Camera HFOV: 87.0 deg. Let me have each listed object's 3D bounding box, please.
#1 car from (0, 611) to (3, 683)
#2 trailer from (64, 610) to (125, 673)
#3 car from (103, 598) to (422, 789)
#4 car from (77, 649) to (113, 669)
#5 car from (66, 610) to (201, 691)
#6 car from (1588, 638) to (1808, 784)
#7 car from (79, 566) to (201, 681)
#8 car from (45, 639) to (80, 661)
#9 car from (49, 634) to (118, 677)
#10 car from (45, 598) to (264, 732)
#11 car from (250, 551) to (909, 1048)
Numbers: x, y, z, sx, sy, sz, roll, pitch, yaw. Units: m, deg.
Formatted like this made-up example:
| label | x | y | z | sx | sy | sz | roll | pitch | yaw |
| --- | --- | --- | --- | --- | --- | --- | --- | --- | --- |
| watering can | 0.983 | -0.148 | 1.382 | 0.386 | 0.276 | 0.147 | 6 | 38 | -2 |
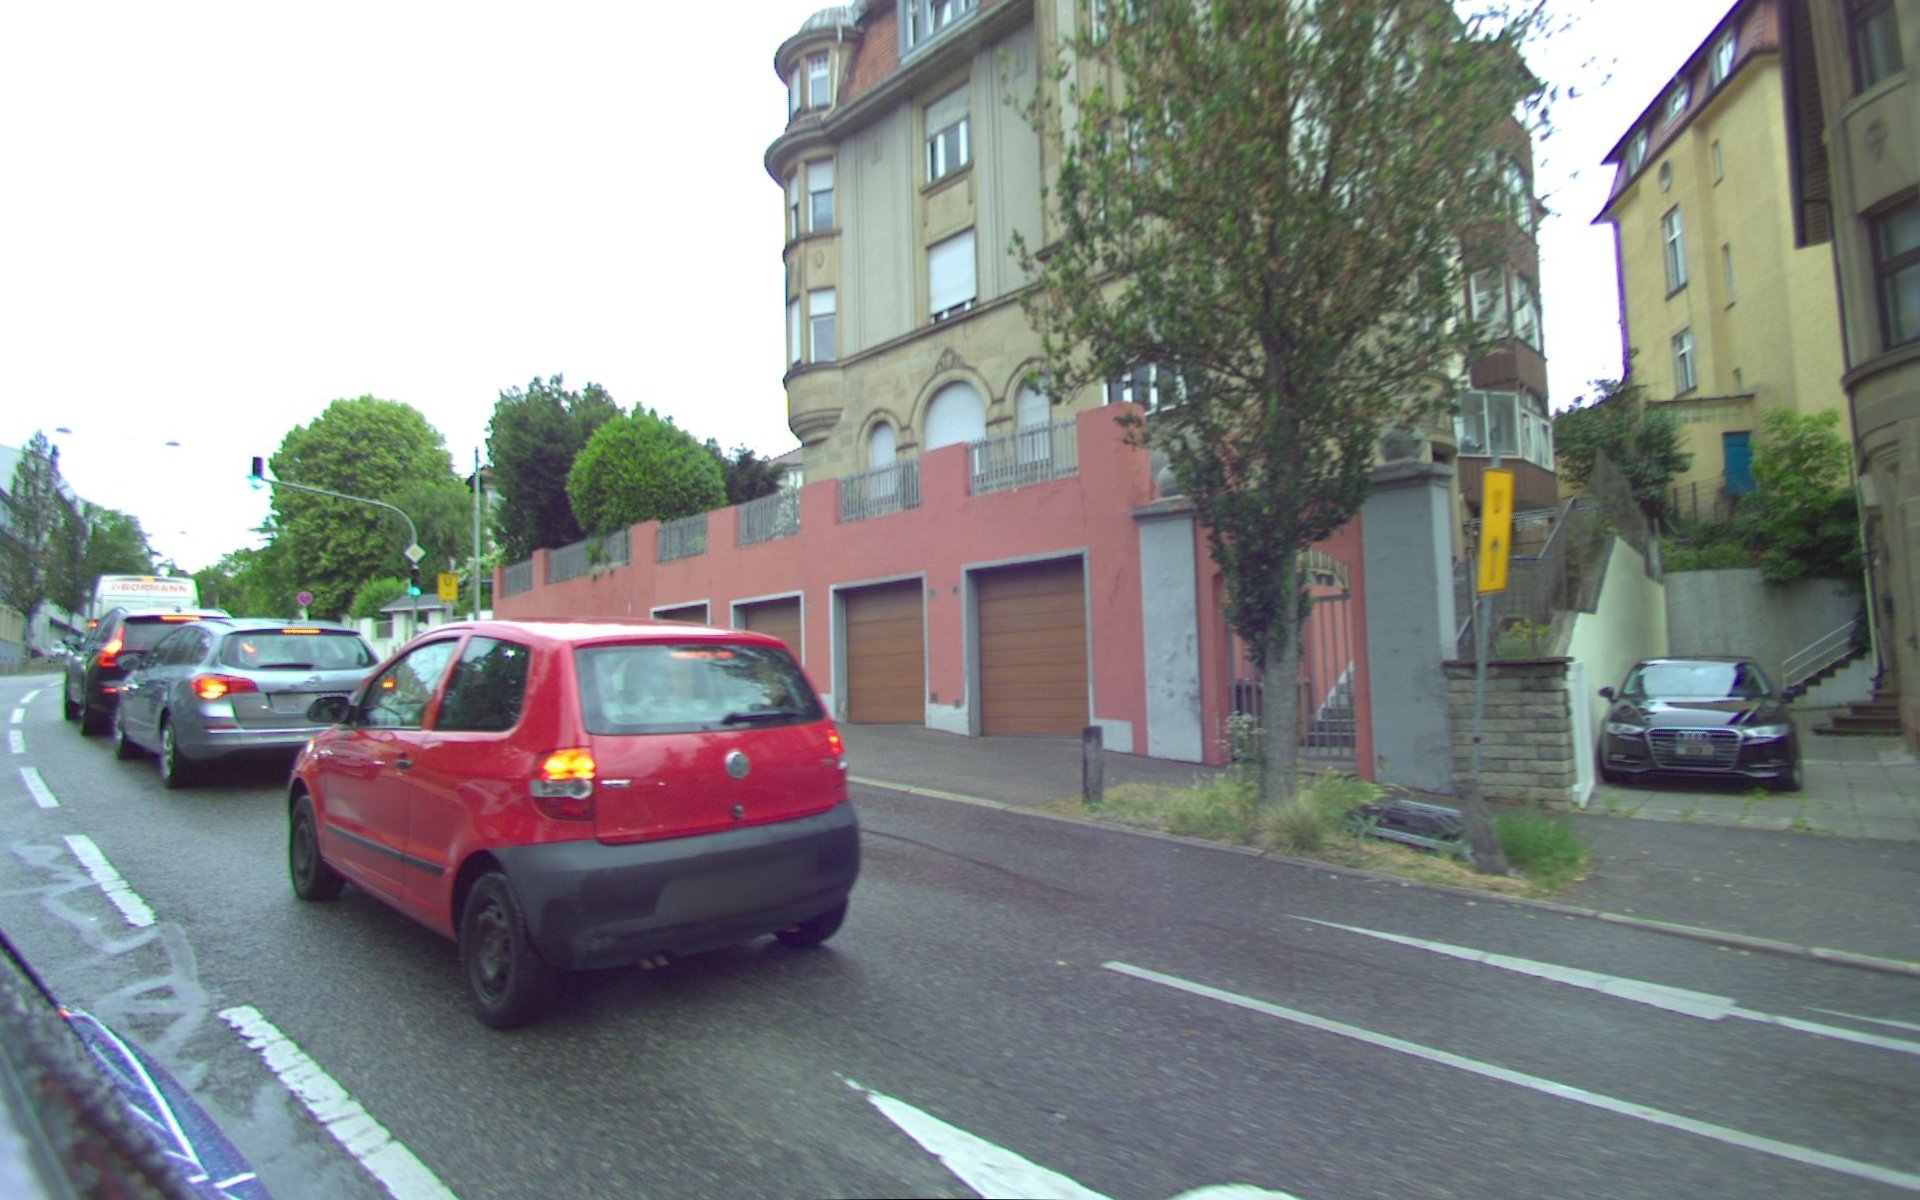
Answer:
| label | x | y | z | sx | sy | sz | roll | pitch | yaw |
| --- | --- | --- | --- | --- | --- | --- | --- | --- | --- |
| car | -21.801 | 1.024 | 21.544 | 1.759 | 1.654 | 4.207 | 2 | -3 | -40 |
| trailer | -37.724 | 1.768 | 44.181 | 1.743 | 2.645 | 3.040 | 0 | -1 | -35 |
| car | -7.129 | 0.810 | 10.159 | 4.263 | 1.509 | 1.754 | -1 | -3 | 44 |
| car | -68.542 | 4.643 | 80.240 | 1.791 | 1.470 | 4.752 | 2 | -3 | -37 |
| car | -16.433 | 0.976 | 20.060 | 1.793 | 1.441 | 4.004 | 3 | -3 | -43 |
| car | 8.600 | 1.181 | 11.733 | 1.787 | 1.409 | 3.516 | -2 | -4 | 39 |
| car | -20.412 | 0.613 | 25.328 | 2.090 | 2.565 | 5.550 | 2 | -3 | -38 |
| car | -60.618 | 3.413 | 68.400 | 1.566 | 1.422 | 3.462 | 4 | -5 | -39 |
| car | -35.872 | 2.230 | 41.492 | 1.708 | 1.631 | 3.484 | 0 | -1 | -34 |
| car | -11.504 | 0.851 | 14.331 | 4.588 | 1.587 | 1.853 | -2 | -4 | 45 |
| car | -2.220 | 0.687 | 5.225 | 4.001 | 1.580 | 1.636 | -2 | -2 | 44 |
